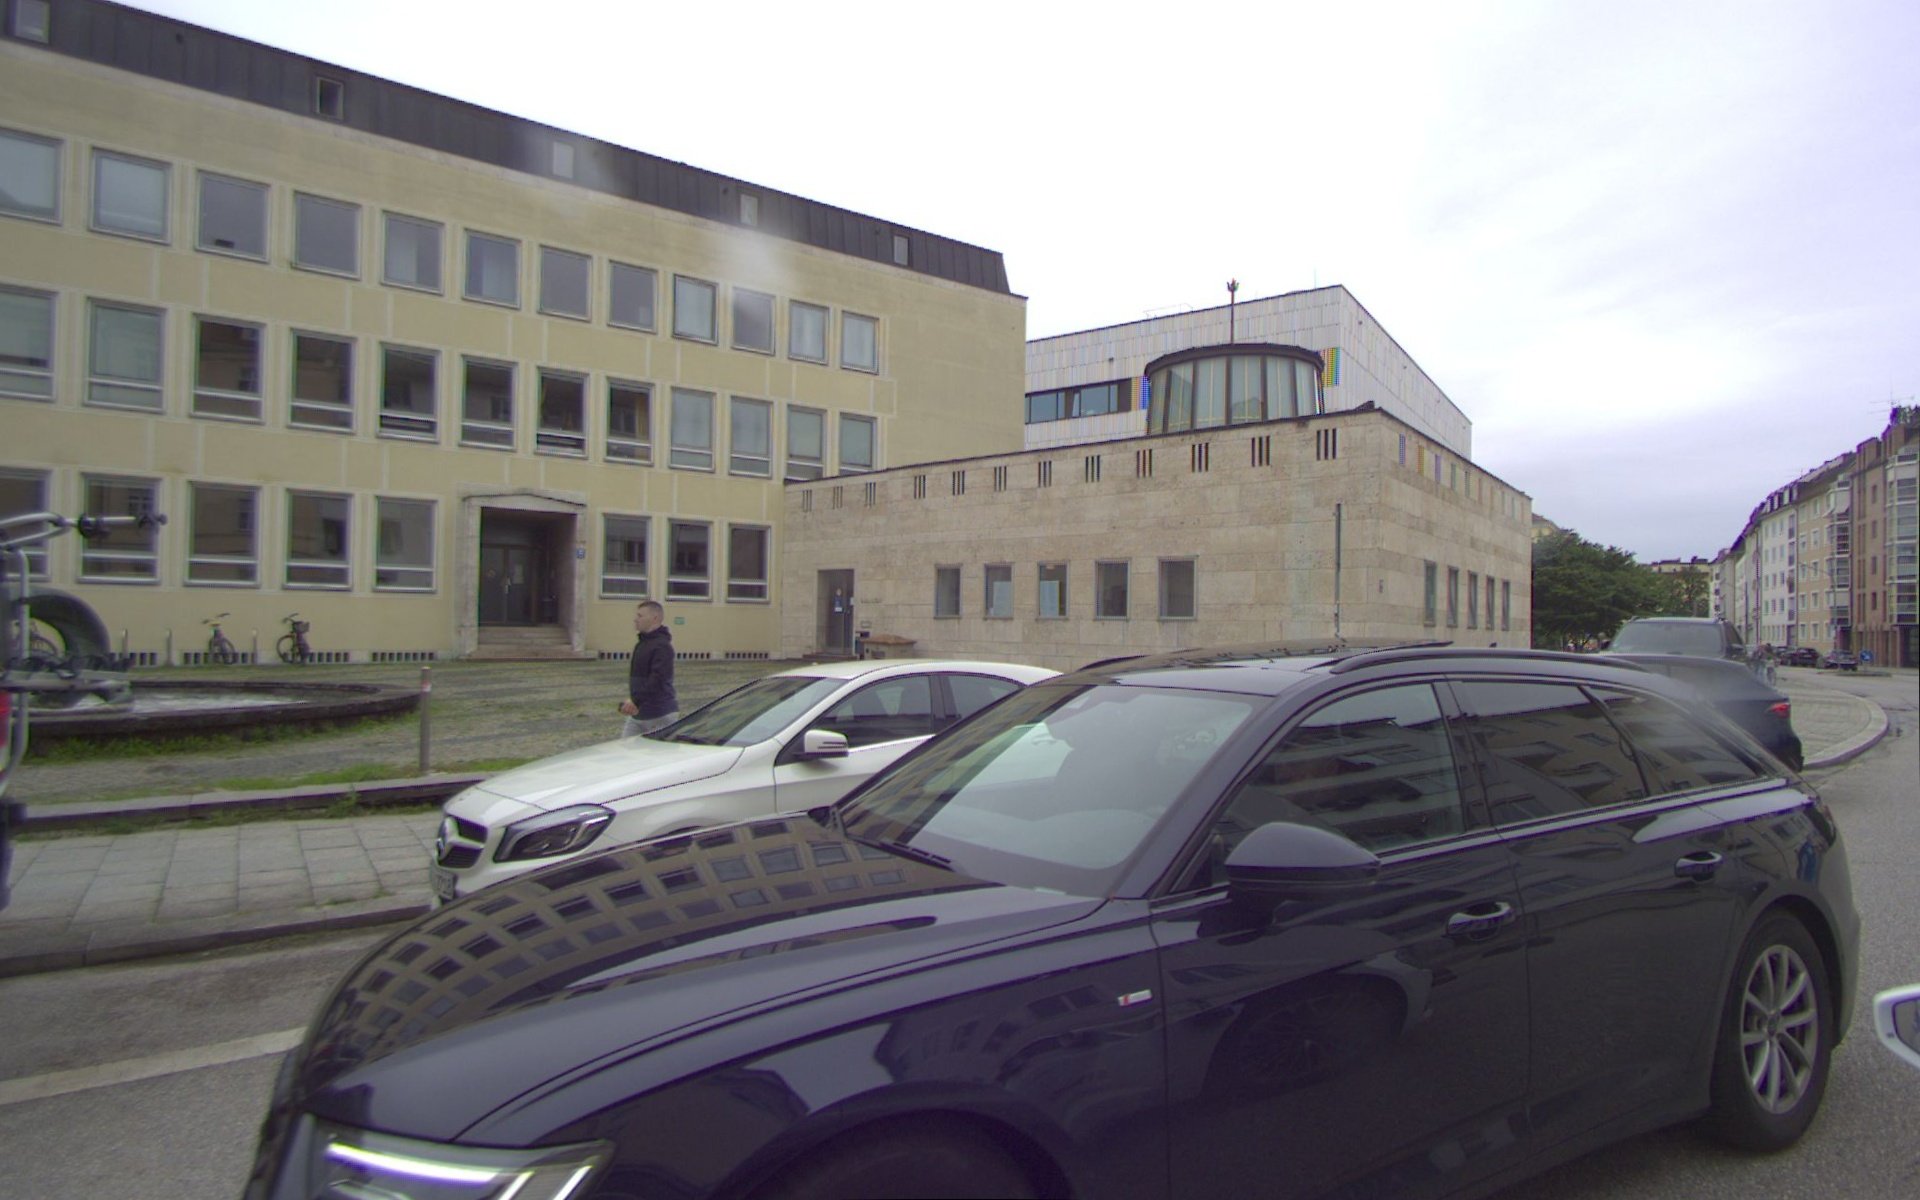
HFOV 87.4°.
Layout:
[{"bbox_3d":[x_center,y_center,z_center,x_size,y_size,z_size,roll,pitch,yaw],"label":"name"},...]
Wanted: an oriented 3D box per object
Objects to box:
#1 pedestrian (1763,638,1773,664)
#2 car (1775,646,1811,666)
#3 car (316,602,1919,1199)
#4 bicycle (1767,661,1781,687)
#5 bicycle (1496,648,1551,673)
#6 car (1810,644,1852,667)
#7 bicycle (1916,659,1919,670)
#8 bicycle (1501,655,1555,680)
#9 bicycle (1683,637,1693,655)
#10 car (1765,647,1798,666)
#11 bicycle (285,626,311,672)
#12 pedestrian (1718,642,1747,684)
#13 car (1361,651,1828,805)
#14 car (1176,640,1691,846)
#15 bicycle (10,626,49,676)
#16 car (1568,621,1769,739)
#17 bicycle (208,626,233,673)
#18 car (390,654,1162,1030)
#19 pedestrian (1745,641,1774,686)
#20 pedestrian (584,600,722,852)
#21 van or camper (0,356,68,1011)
[{"bbox_3d":[47.273,3.004,58.776,0.456,1.479,0.440,0,-3,41],"label":"pedestrian"},{"bbox_3d":[67.001,4.484,80.831,1.609,1.503,3.604,0,-2,30],"label":"car"},{"bbox_3d":[0.869,0.823,3.128,4.643,1.430,1.914,1,-4,-27],"label":"car"},{"bbox_3d":[32.544,2.959,40.142,0.384,0.982,1.707,0,-2,40],"label":"bicycle"},{"bbox_3d":[24.219,2.605,43.200,2.000,0.897,0.674,4,0,30],"label":"bicycle"},{"bbox_3d":[62.085,3.943,71.607,1.609,1.503,3.603,0,-2,30],"label":"car"},{"bbox_3d":[70.875,4.739,73.360,1.084,0.865,1.726,1,-2,28],"label":"bicycle"},{"bbox_3d":[25.851,3.066,45.737,2.084,0.890,0.827,4,0,30],"label":"bicycle"},{"bbox_3d":[97.636,6.183,134.720,1.012,2.039,3.274,0,-6,34],"label":"bicycle"},{"bbox_3d":[69.630,4.731,85.171,1.609,1.503,3.603,0,-2,30],"label":"car"},{"bbox_3d":[-15.046,1.094,22.815,0.410,0.957,1.694,1,0,-36],"label":"bicycle"},{"bbox_3d":[31.576,2.562,41.053,0.913,1.651,0.755,2,-2,-39],"label":"pedestrian"},{"bbox_3d":[6.544,1.311,10.926,3.919,1.439,1.815,-2,-4,19],"label":"car"},{"bbox_3d":[3.949,1.172,8.938,3.735,1.527,1.715,-2,-4,20],"label":"car"},{"bbox_3d":[-18.961,1.024,20.487,0.410,0.957,1.460,1,0,-36],"label":"bicycle"},{"bbox_3d":[12.430,1.315,17.475,4.854,1.759,2.032,3,-3,-44],"label":"car"},{"bbox_3d":[-16.241,1.073,22.070,0.410,0.957,1.460,1,0,-36],"label":"bicycle"},{"bbox_3d":[-0.910,1.085,6.099,4.179,1.469,1.978,2,-5,-39],"label":"car"},{"bbox_3d":[32.207,2.537,40.453,0.913,1.792,0.729,2,-2,-40],"label":"pedestrian"},{"bbox_3d":[-2.471,0.954,8.091,0.833,1.891,0.710,0,-1,42],"label":"pedestrian"},{"bbox_3d":[-6.323,0.289,2.318,6.024,2.614,2.283,2,-4,-35],"label":"van or camper"}]
